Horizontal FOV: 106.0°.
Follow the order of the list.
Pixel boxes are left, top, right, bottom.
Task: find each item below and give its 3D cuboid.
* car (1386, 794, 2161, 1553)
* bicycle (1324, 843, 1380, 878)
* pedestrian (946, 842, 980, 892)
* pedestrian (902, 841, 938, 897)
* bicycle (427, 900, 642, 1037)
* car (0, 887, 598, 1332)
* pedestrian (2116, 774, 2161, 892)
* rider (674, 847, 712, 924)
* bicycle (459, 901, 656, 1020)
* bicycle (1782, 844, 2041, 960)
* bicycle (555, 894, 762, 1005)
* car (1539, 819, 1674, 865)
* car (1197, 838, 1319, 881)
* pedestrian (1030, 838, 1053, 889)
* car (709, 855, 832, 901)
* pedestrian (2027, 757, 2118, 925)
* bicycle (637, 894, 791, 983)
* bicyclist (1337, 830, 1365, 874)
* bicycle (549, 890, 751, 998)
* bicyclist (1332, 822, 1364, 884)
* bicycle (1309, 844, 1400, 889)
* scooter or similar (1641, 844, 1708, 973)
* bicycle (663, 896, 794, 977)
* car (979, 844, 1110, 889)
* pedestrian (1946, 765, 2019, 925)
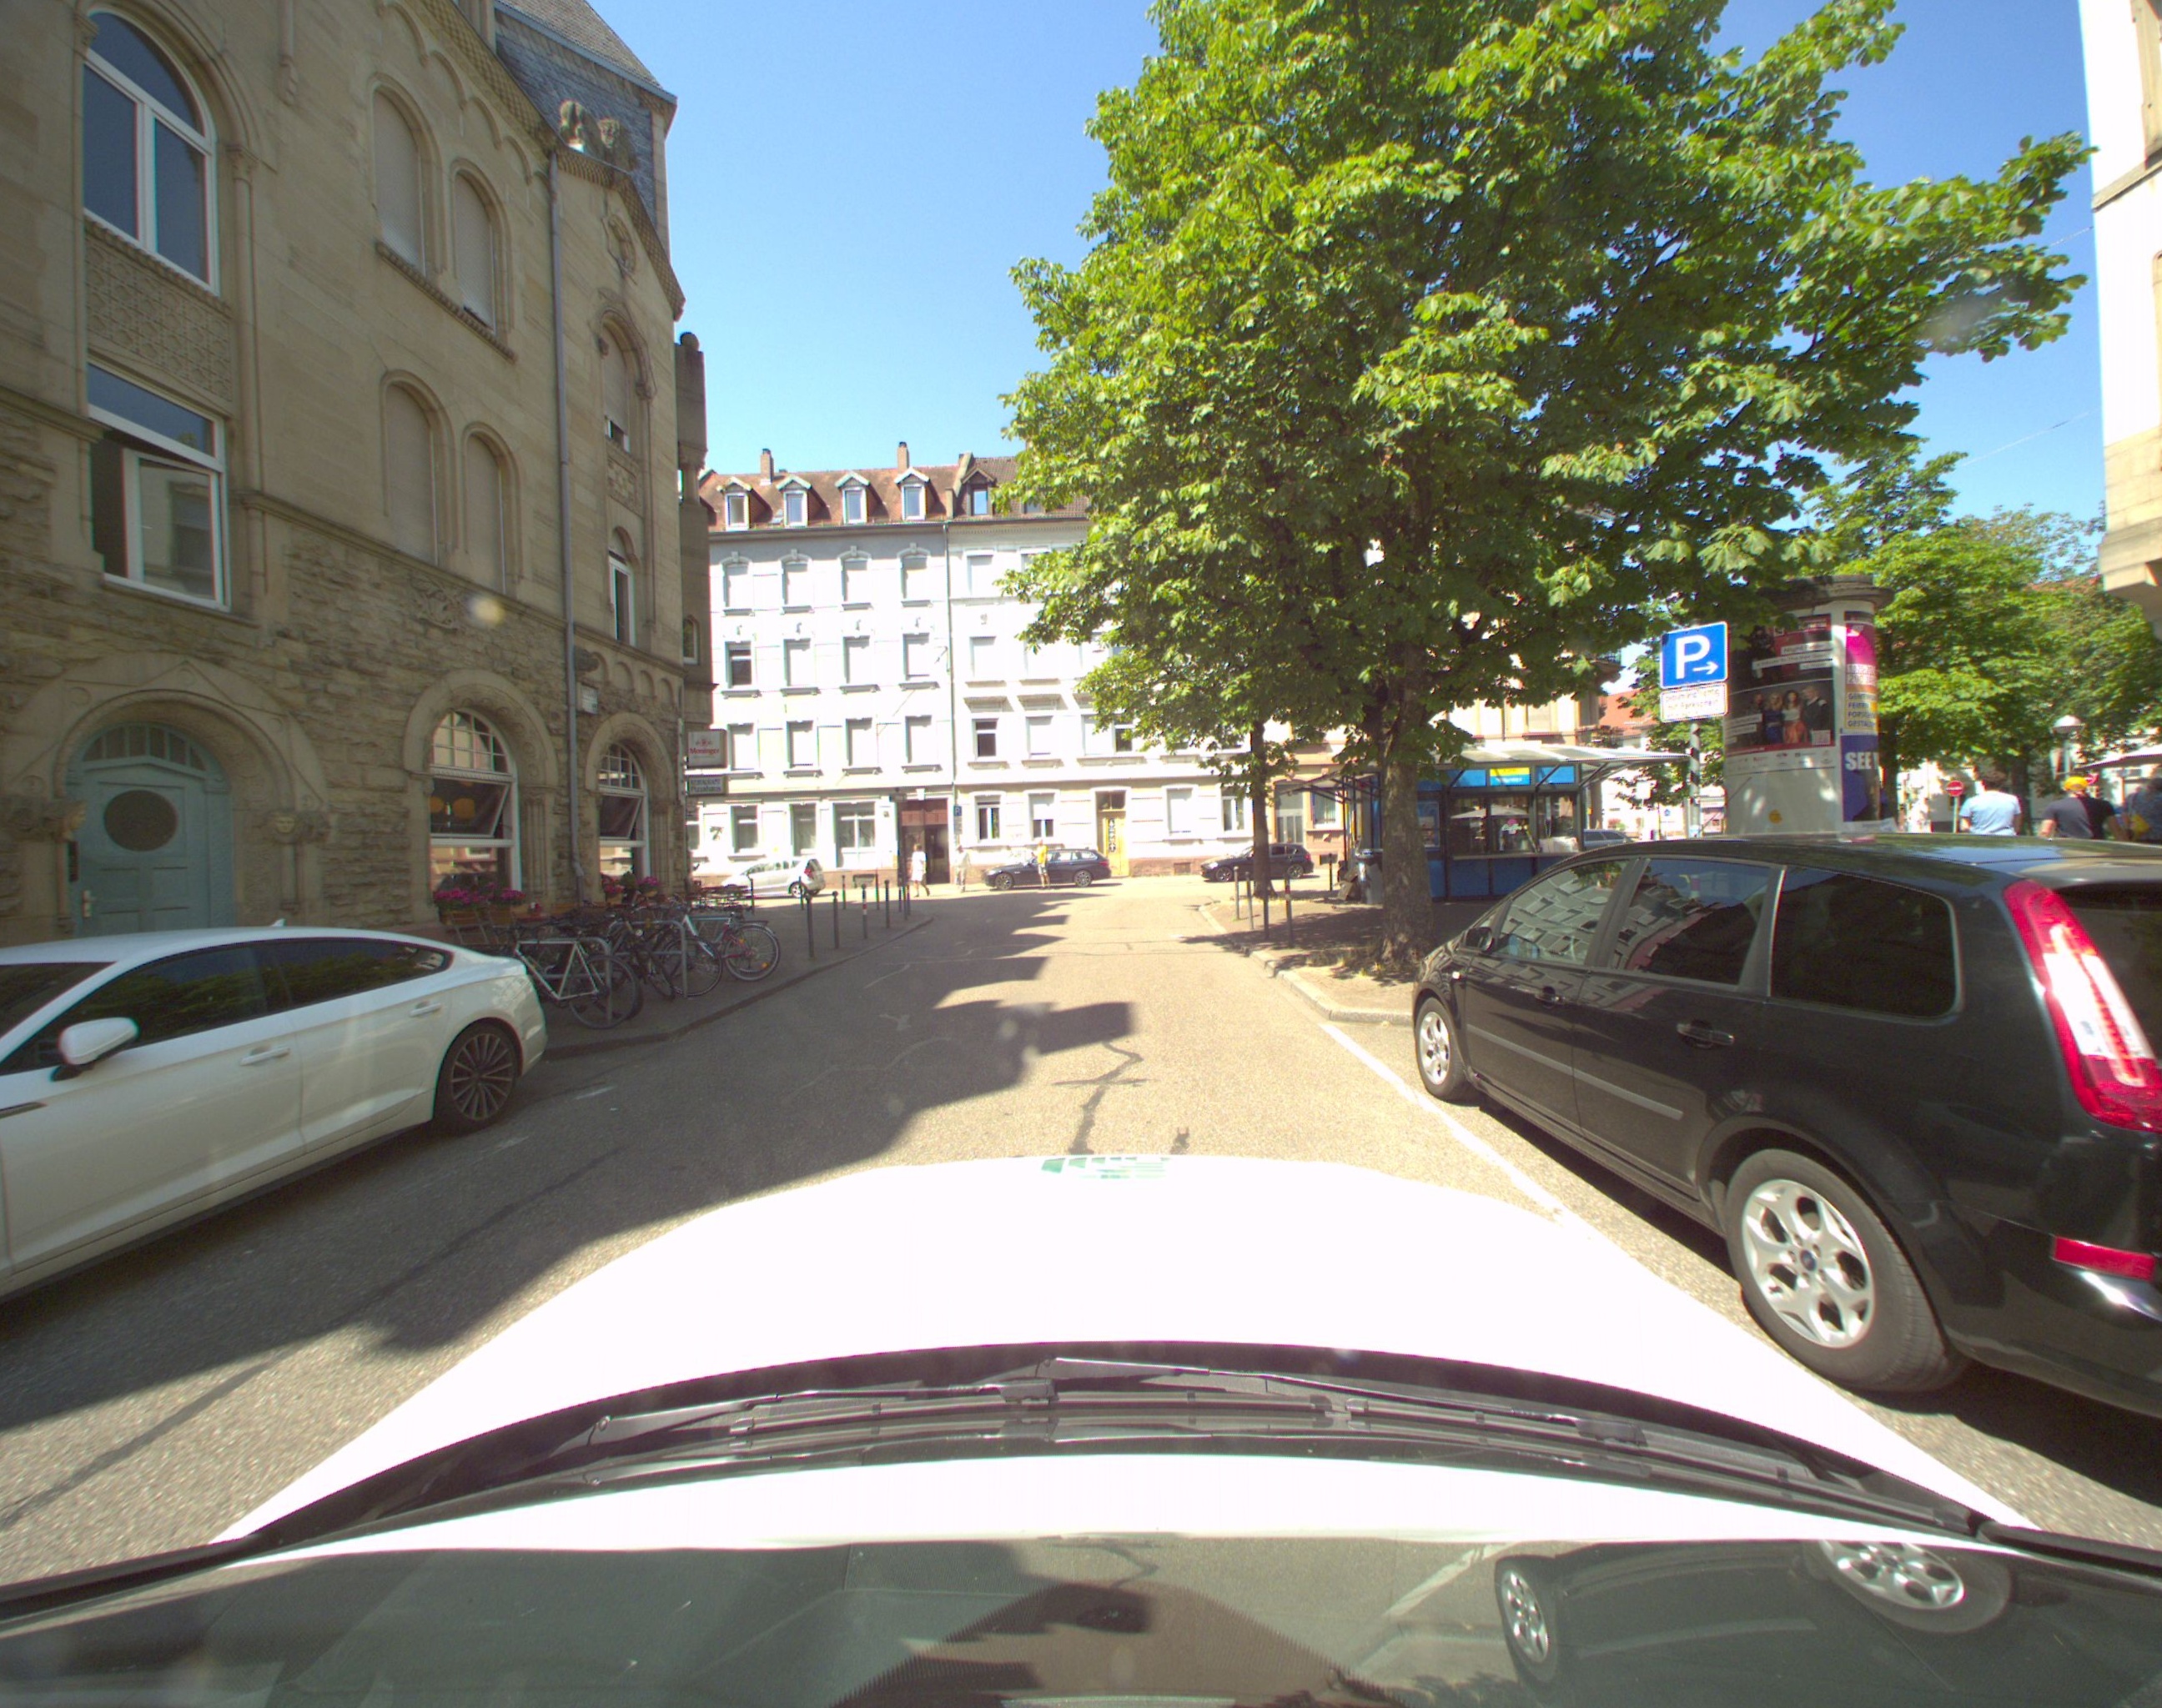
[{"bbox_3d":[2.958,0.630,3.733,1.657,1.540,4.179,0,0,1],"label":"car"},{"bbox_3d":[9.670,0.222,29.023,2.453,1.209,0.646,-1,0,-39],"label":"bicycle"},{"bbox_3d":[-4.455,0.479,30.784,0.895,1.814,0.963,-3,0,11],"label":"pedestrian"},{"bbox_3d":[-5.612,0.498,28.395,0.844,1.889,0.938,-3,0,12],"label":"pedestrian"},{"bbox_3d":[-5.107,1.060,7.647,1.698,1.100,0.292,-5,0,-3],"label":"bicycle"},{"bbox_3d":[-4.535,0.996,3.872,1.696,1.352,4.514,-4,0,0],"label":"car"},{"bbox_3d":[16.666,-0.331,12.698,0.753,1.794,0.576,-3,0,-37],"label":"pedestrian"},{"bbox_3d":[-8.790,0.704,18.441,0.544,1.697,0.634,-3,0,-44],"label":"rider"},{"bbox_3d":[-5.093,1.029,7.961,1.698,1.100,0.292,0,0,-3],"label":"bicycle"},{"bbox_3d":[8.375,0.469,8.267,1.892,1.039,0.634,-3,0,2],"label":"bicycle"},{"bbox_3d":[-4.500,1.017,8.742,1.967,1.129,0.394,1,0,-3],"label":"bicycle"},{"bbox_3d":[19.953,-0.442,31.038,3.973,1.505,1.779,-3,0,1],"label":"car"},{"bbox_3d":[6.738,0.192,31.287,4.278,1.370,1.808,-3,3,1],"label":"car"},{"bbox_3d":[-1.453,0.344,30.051,0.724,1.853,0.683,-3,0,-8],"label":"pedestrian"},{"bbox_3d":[-12.070,0.920,31.838,4.033,1.562,1.807,-3,0,0],"label":"car"},{"bbox_3d":[11.657,-0.152,9.574,0.887,1.880,0.594,-2,0,-37],"label":"pedestrian"},{"bbox_3d":[-4.527,1.031,10.095,1.700,1.045,0.414,0,0,-3],"label":"bicycle"},{"bbox_3d":[9.613,-0.064,28.988,0.612,1.533,0.665,-3,0,-39],"label":"bicyclist"},{"bbox_3d":[-4.814,0.993,9.156,1.990,1.129,0.436,-1,0,-3],"label":"bicycle"},{"bbox_3d":[7.632,-0.029,23.286,0.607,1.760,0.670,0,0,-9],"label":"bicyclist"},{"bbox_3d":[7.822,0.334,23.305,2.434,1.228,0.651,-1,0,-11],"label":"bicycle"},{"bbox_3d":[5.810,0.493,7.955,0.437,1.136,1.193,-3,0,38],"label":"scooter or similar"},{"bbox_3d":[-4.535,1.053,10.522,1.521,1.008,0.367,0,0,-3],"label":"bicycle"},{"bbox_3d":[-1.330,0.471,31.342,4.841,1.437,2.001,-3,0,1],"label":"car"},{"bbox_3d":[10.979,-0.113,9.918,0.657,1.868,0.514,-2,0,-40],"label":"pedestrian"}]
